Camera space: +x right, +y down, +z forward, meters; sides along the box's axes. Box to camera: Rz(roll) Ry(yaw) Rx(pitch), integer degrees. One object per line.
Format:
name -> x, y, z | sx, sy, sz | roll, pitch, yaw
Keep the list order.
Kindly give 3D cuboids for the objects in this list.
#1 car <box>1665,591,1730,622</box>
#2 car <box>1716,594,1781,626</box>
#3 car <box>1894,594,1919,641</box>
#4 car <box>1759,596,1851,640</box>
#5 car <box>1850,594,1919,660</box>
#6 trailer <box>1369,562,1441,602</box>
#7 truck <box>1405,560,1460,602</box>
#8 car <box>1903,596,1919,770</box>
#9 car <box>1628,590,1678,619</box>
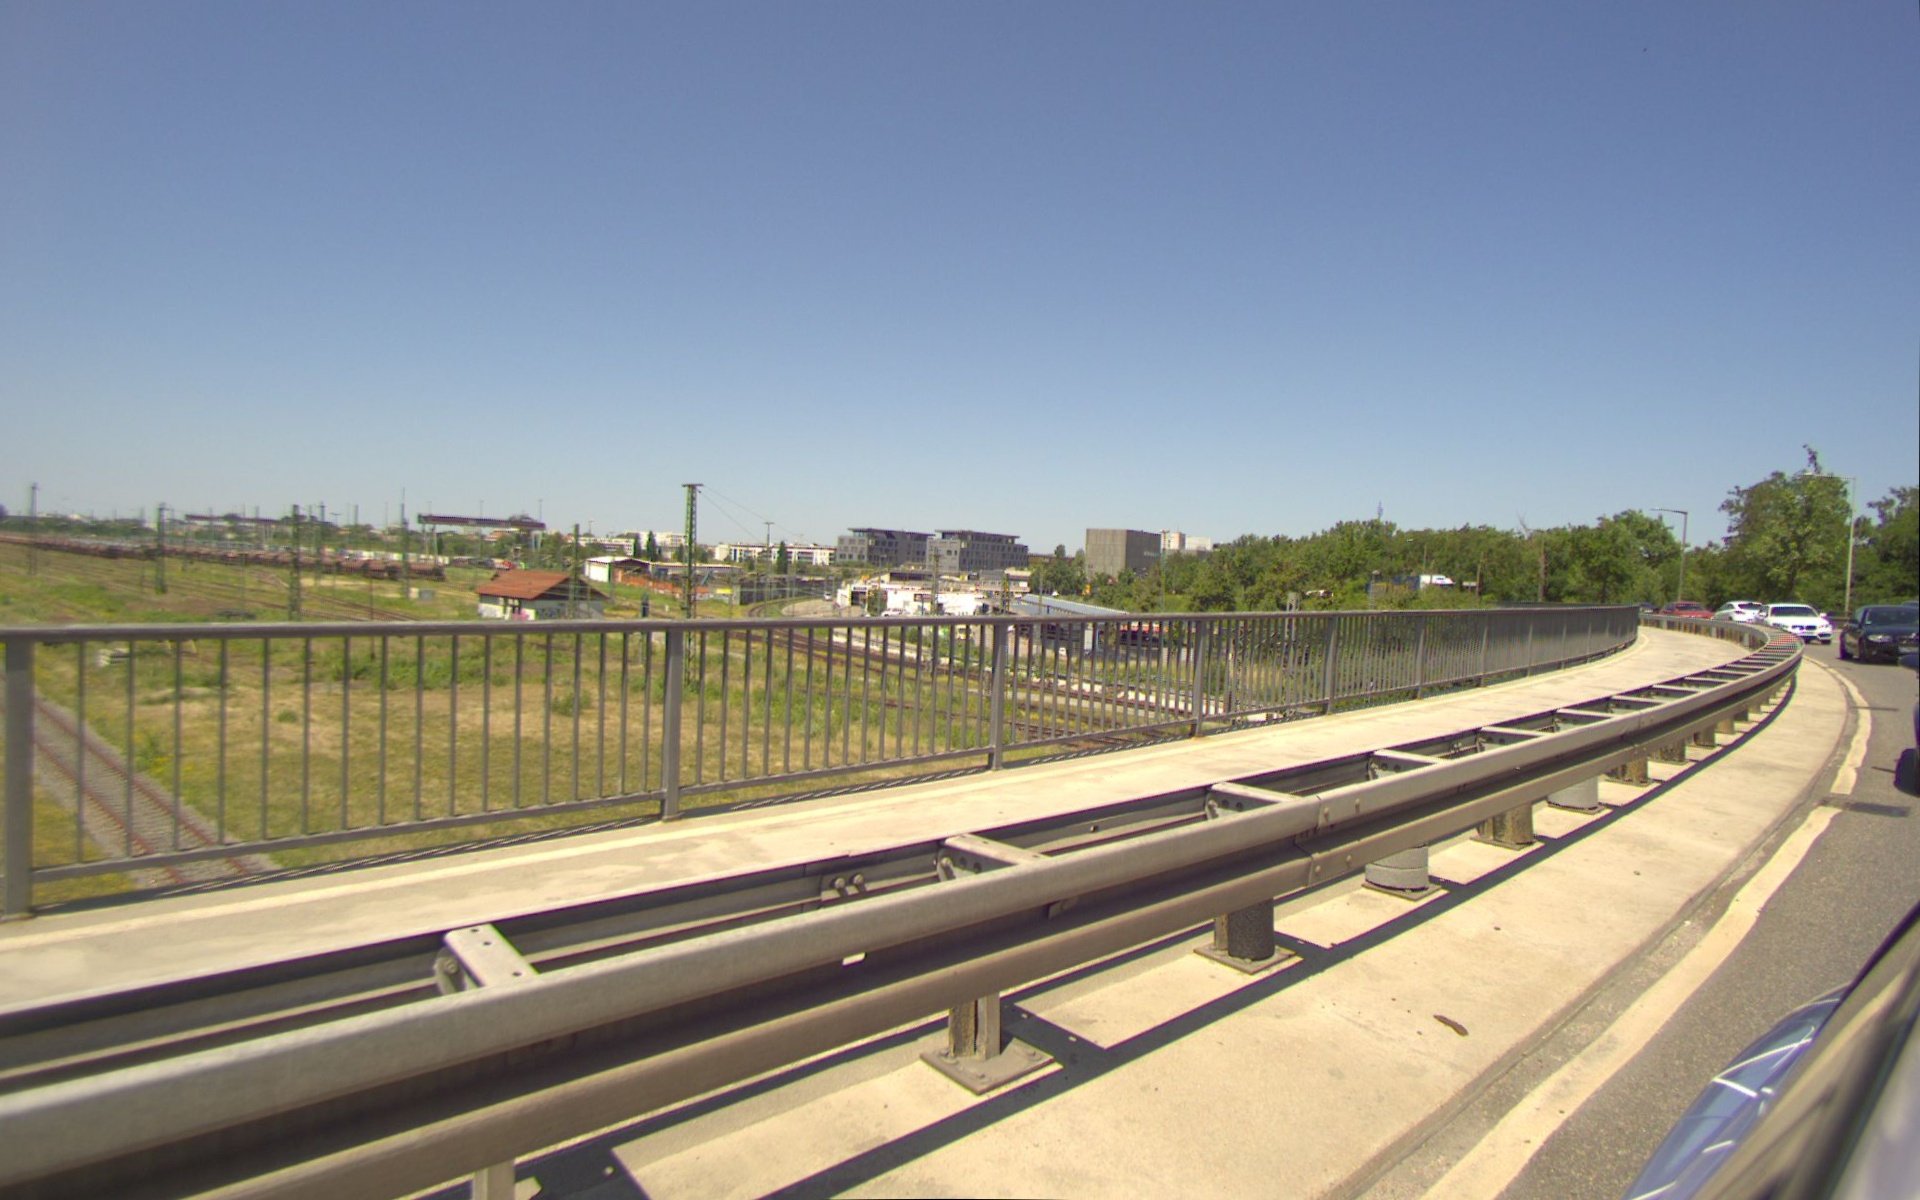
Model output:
car -> 38.636, 0.314, 53.111 | 1.776, 1.473, 4.486 | 2, 2, 24
car -> 42.775, 0.510, 54.975 | 1.680, 1.627, 3.970 | 2, 1, 22
car -> 34.559, 0.623, 35.510 | 1.685, 1.627, 3.959 | 1, 1, 29
car -> 30.719, 0.598, 36.924 | 1.780, 1.473, 4.476 | 0, 0, 29
car -> 22.905, 0.603, 24.433 | 1.785, 1.473, 4.462 | 1, 0, 37
trailer -> 50.378, -2.001, 115.029 | 2.651, 4.288, 12.711 | 0, 1, 1
truck -> 50.330, -1.950, 107.947 | 2.646, 4.282, 6.838 | -1, 0, 1
car -> 8.751, 0.703, 8.046 | 1.639, 1.457, 3.941 | 0, 0, 40
car -> 49.782, 0.349, 72.817 | 1.975, 2.039, 3.973 | -1, -1, 20
